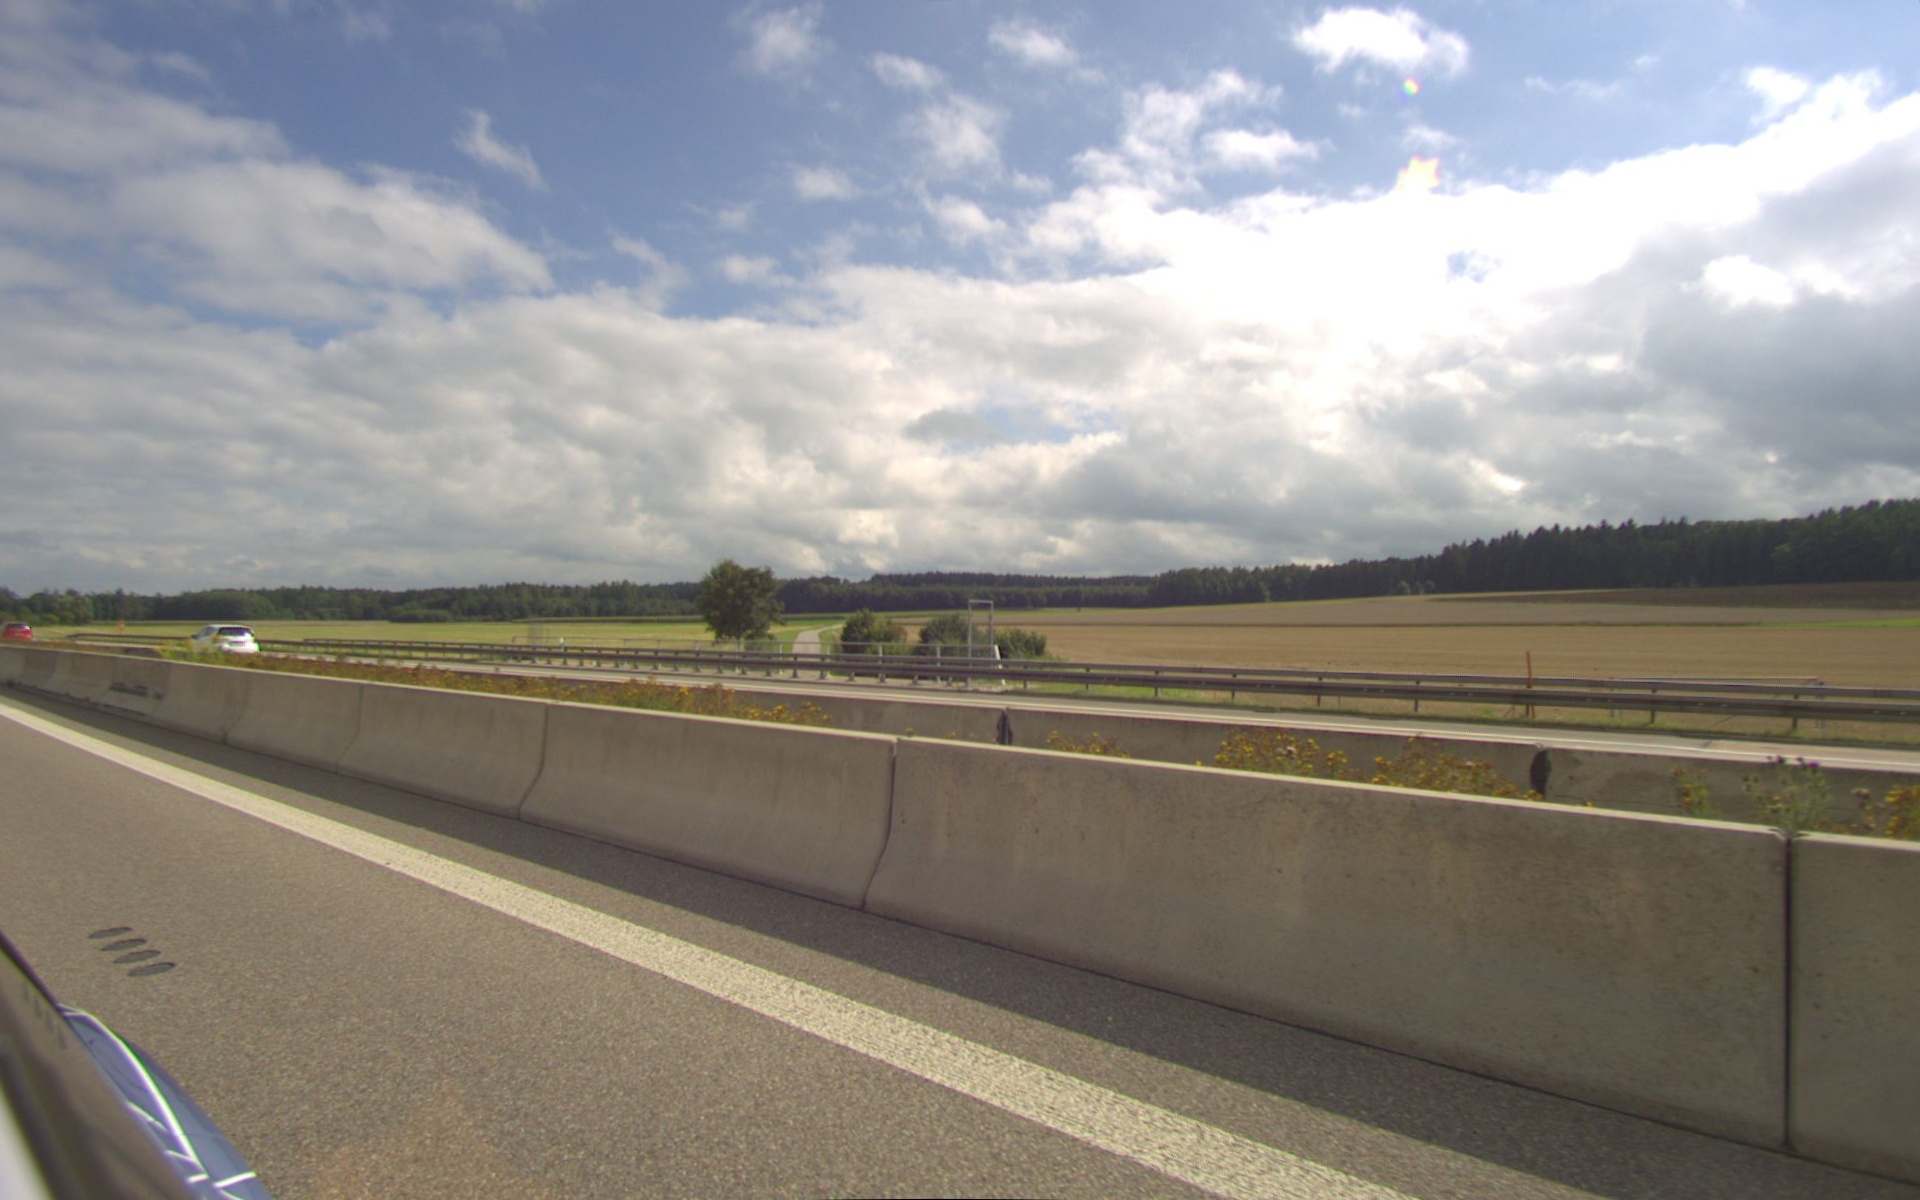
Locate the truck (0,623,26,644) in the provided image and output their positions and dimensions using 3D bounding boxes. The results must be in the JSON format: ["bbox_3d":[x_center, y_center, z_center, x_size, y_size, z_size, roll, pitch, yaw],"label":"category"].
[{"bbox_3d":[-73.878,2.599,78.315,4.977,1.586,1.690,-2,-4,40],"label":"truck"}]

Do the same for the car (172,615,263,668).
[{"bbox_3d":[-30.857,1.697,41.996,4.708,2.086,1.973,-1,-3,40],"label":"car"}]
